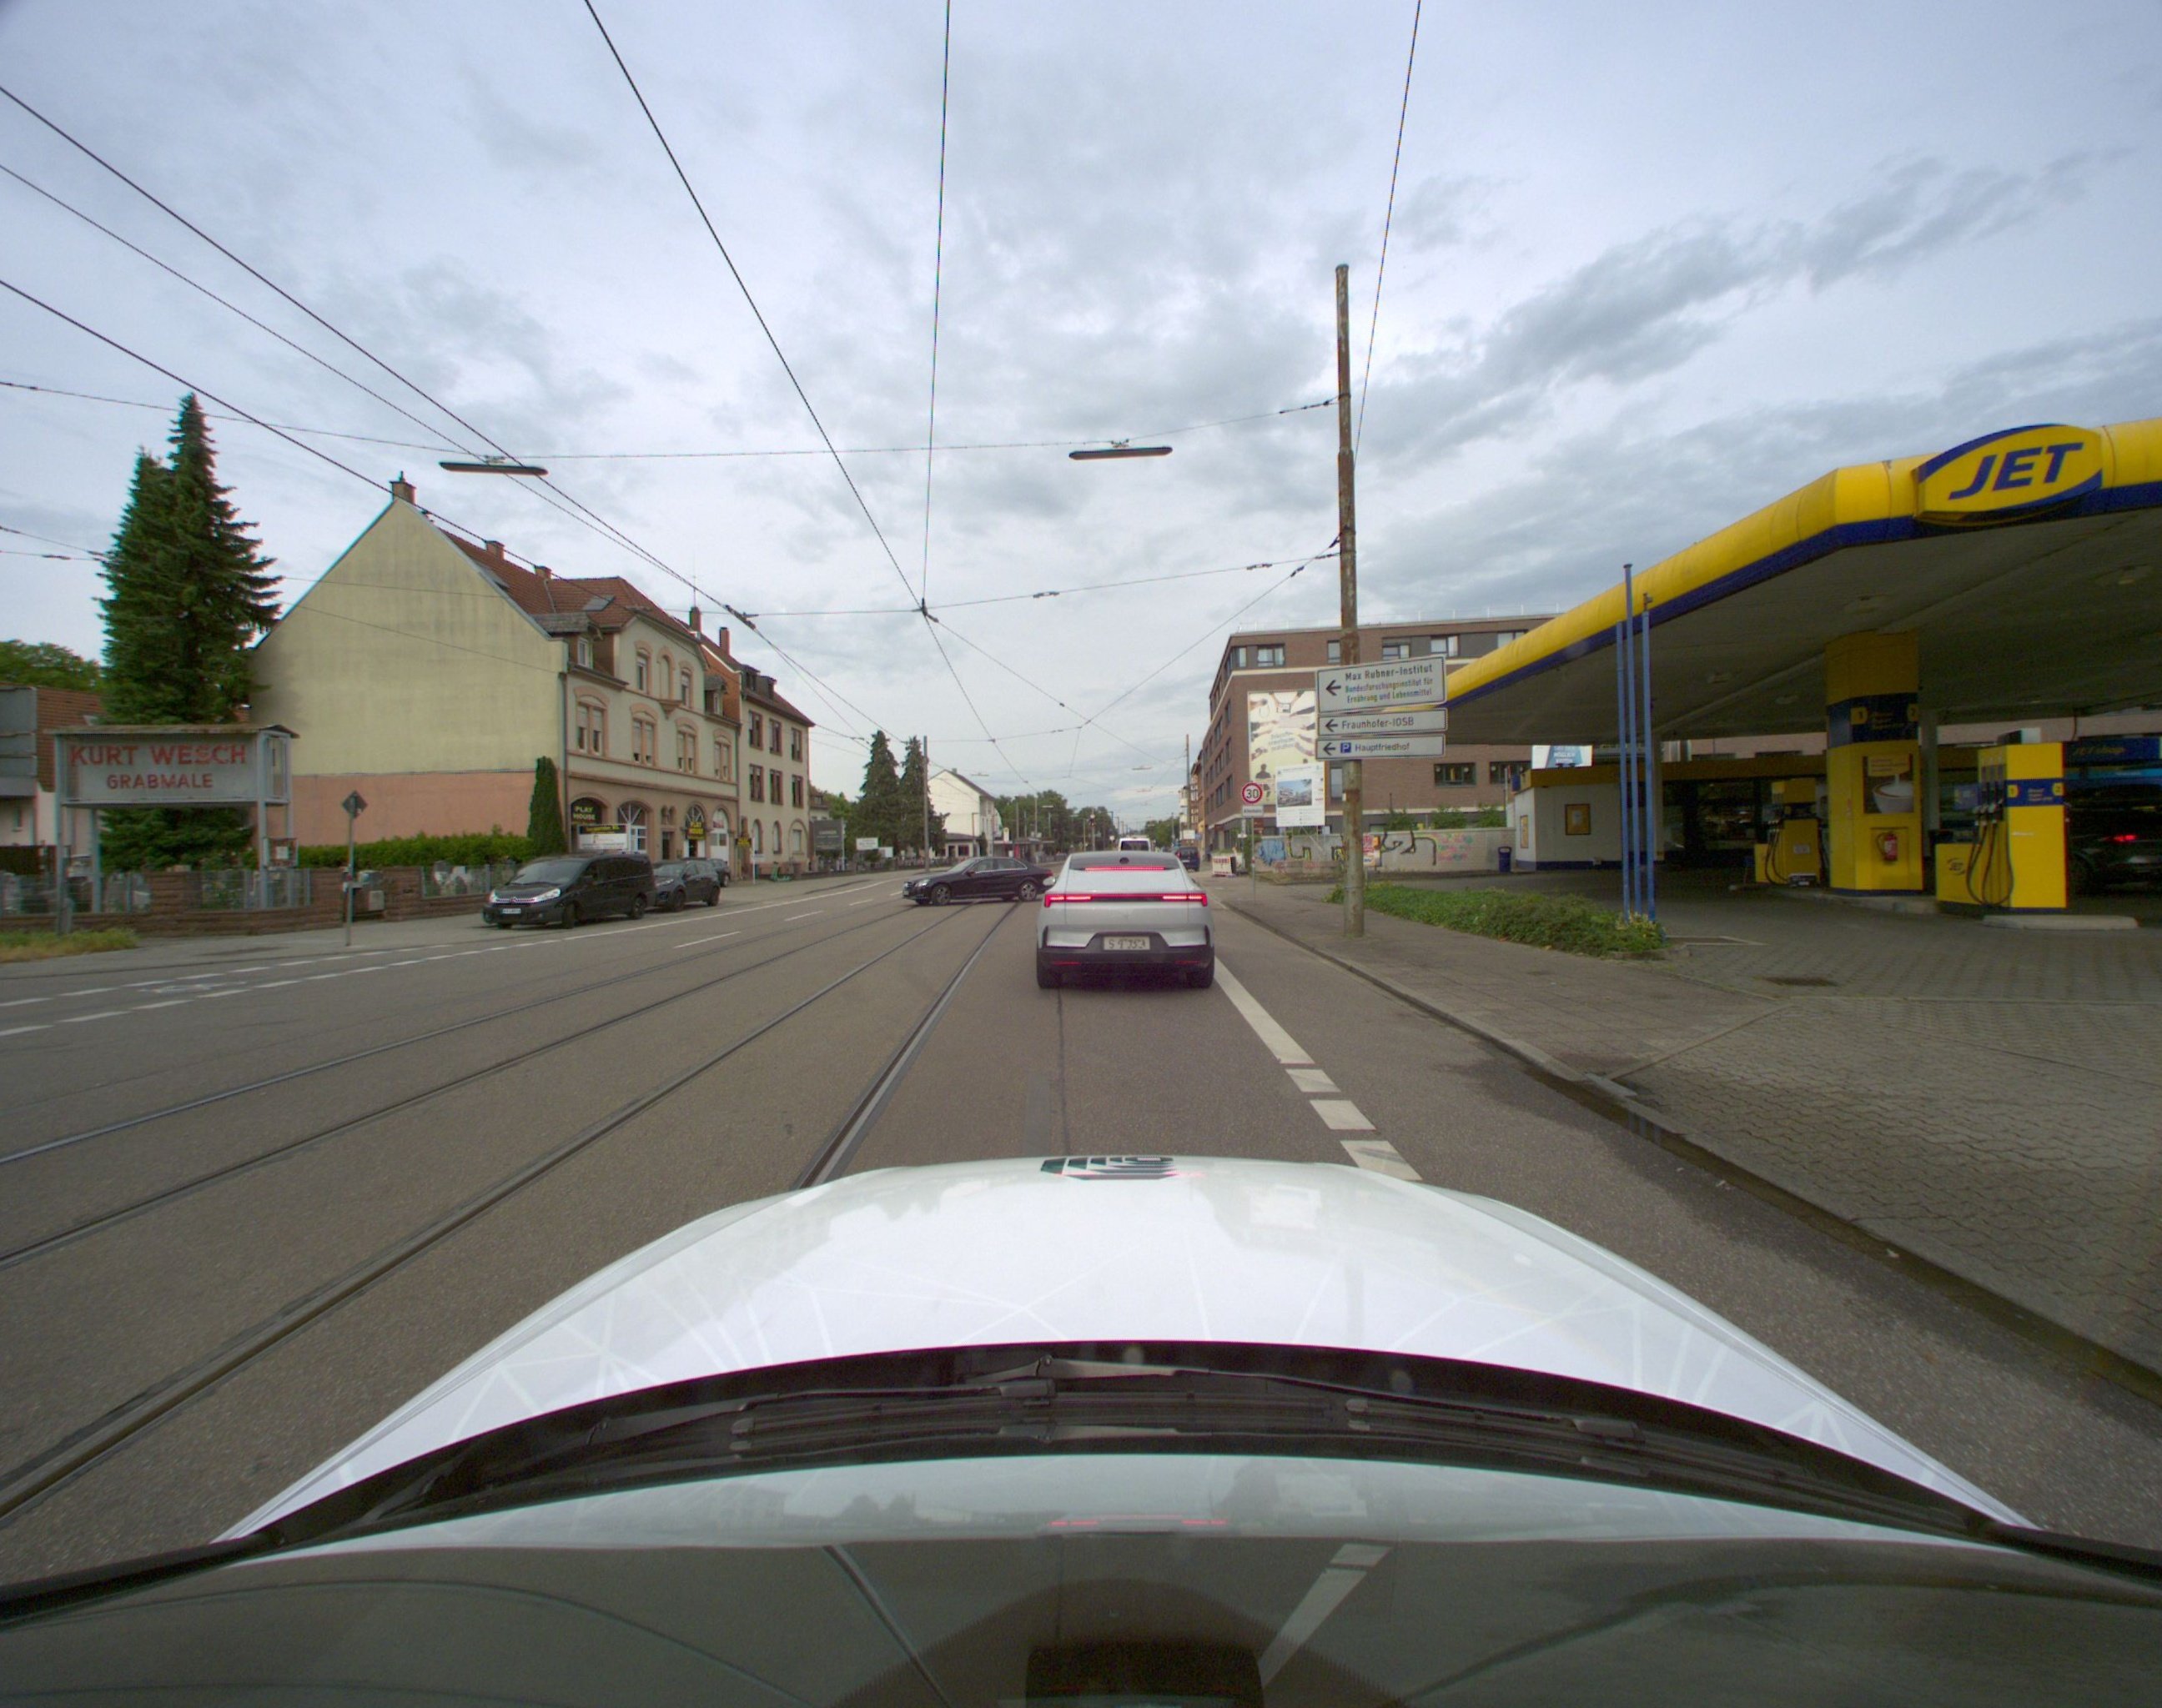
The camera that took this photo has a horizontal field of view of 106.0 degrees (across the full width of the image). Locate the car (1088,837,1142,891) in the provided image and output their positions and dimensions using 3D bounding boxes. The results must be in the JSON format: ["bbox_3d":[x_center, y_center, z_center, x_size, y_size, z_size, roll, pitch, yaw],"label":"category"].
[{"bbox_3d":[1.284,0.388,32.625,1.987,2.014,3.999,0,-1,0],"label":"car"}]

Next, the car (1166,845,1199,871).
[{"bbox_3d":[7.188,0.285,58.098,1.868,1.823,4.096,0,-1,1],"label":"car"}]

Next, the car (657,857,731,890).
[{"bbox_3d":[-18.420,0.898,38.897,1.748,1.500,3.745,0,-1,-1],"label":"car"}]

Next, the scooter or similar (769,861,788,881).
[{"bbox_3d":[-17.936,1.017,48.296,1.056,1.188,0.315,0,-1,-35],"label":"scooter or similar"}]

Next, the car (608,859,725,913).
[{"bbox_3d":[-13.909,1.022,27.647,1.839,1.718,4.191,0,-1,-1],"label":"car"}]

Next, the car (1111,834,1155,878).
[{"bbox_3d":[2.928,0.126,46.619,2.209,2.423,4.950,0,-1,0],"label":"car"}]

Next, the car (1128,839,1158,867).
[{"bbox_3d":[4.975,-0.048,66.121,2.132,2.145,4.744,0,-1,1],"label":"car"}]

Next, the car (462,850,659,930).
[{"bbox_3d":[-13.596,0.872,21.756,1.985,1.887,4.998,0,-1,1],"label":"car"}]

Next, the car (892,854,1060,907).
[{"bbox_3d":[-3.281,0.772,25.562,4.892,1.427,1.937,-2,0,-24],"label":"car"}]

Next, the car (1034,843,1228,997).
[{"bbox_3d":[0.443,0.664,10.372,1.977,1.550,4.180,0,0,-2],"label":"car"}]

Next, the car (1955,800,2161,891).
[{"bbox_3d":[19.174,-0.222,15.489,1.972,1.497,4.352,-3,1,25],"label":"car"}]

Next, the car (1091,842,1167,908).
[{"bbox_3d":[1.309,0.574,23.786,1.963,1.756,3.836,0,-1,-1],"label":"car"}]

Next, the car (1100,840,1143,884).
[{"bbox_3d":[1.892,0.403,39.317,1.986,2.014,4.001,0,-1,1],"label":"car"}]

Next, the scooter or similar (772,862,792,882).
[{"bbox_3d":[-17.591,1.058,47.903,1.056,1.188,0.315,0,-1,-35],"label":"scooter or similar"}]
